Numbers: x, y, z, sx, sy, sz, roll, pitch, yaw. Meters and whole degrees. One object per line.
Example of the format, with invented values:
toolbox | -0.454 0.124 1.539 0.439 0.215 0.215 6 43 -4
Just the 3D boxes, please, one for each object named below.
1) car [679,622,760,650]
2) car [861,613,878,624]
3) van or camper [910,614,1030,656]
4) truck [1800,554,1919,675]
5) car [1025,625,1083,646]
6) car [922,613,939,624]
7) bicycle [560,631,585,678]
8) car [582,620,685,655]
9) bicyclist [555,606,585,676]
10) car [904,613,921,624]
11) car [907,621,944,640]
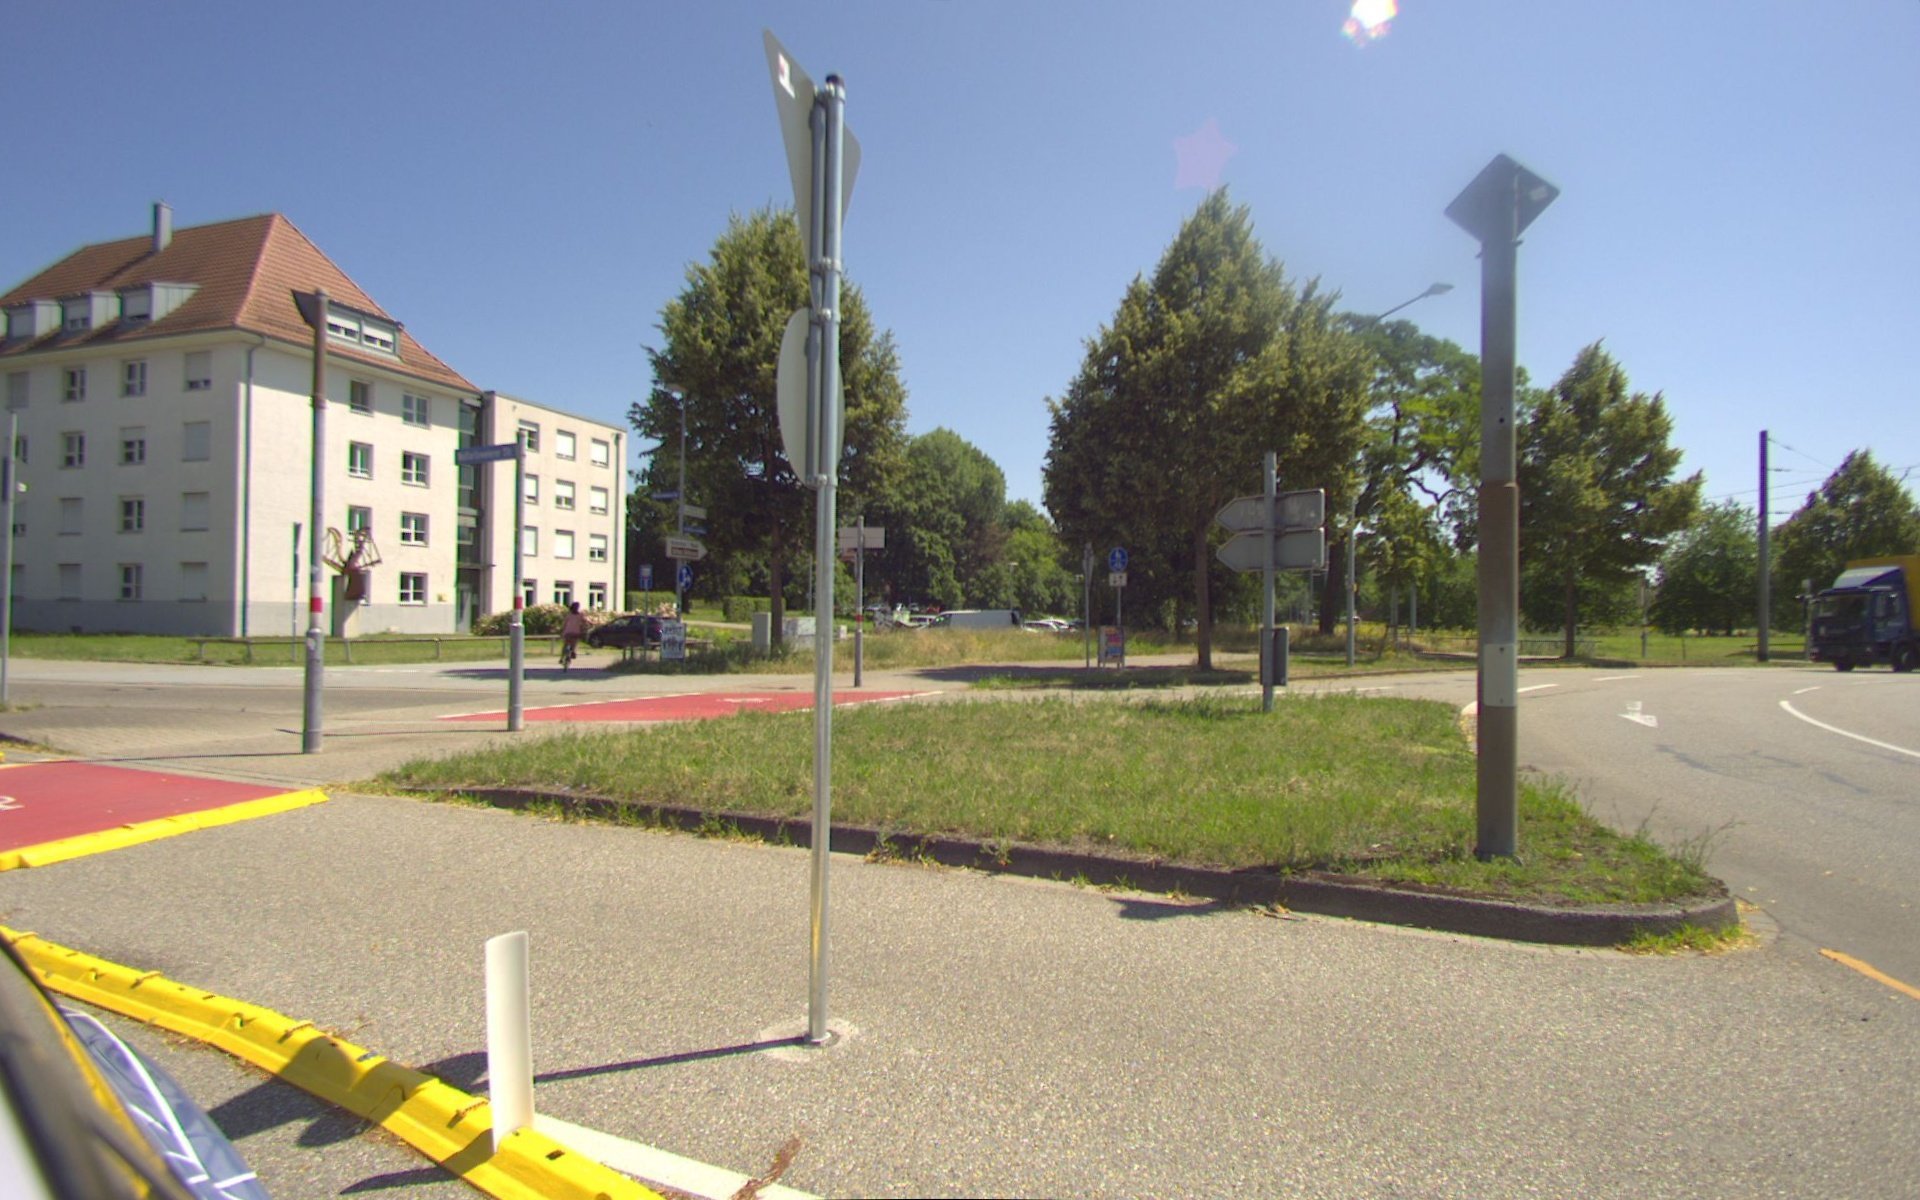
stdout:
car | -11.183 1.654 47.026 3.487 1.227 1.348 0 -1 20
car | -12.467 2.520 139.573 1.465 1.427 3.013 0 -1 14
van or camper | 0.479 1.592 46.877 5.231 1.871 1.987 0 -1 19
truck | 32.614 0.499 32.371 9.472 3.687 2.710 0 -1 -3
car | 5.859 2.200 63.191 3.366 1.291 1.344 0 -1 27
car | -4.003 2.561 137.499 1.465 1.427 3.013 0 -1 14
bicycle | -9.352 1.285 24.417 0.432 1.066 2.095 0 -1 -24
car | -13.307 1.497 41.301 3.779 1.337 1.649 0 -1 20
bicyclist | -9.555 0.977 24.805 0.635 1.676 0.712 0 0 -25
car | -6.492 2.554 138.330 1.465 1.427 3.013 0 -1 14
car | -2.499 2.220 73.409 2.515 1.368 1.074 0 -1 26
